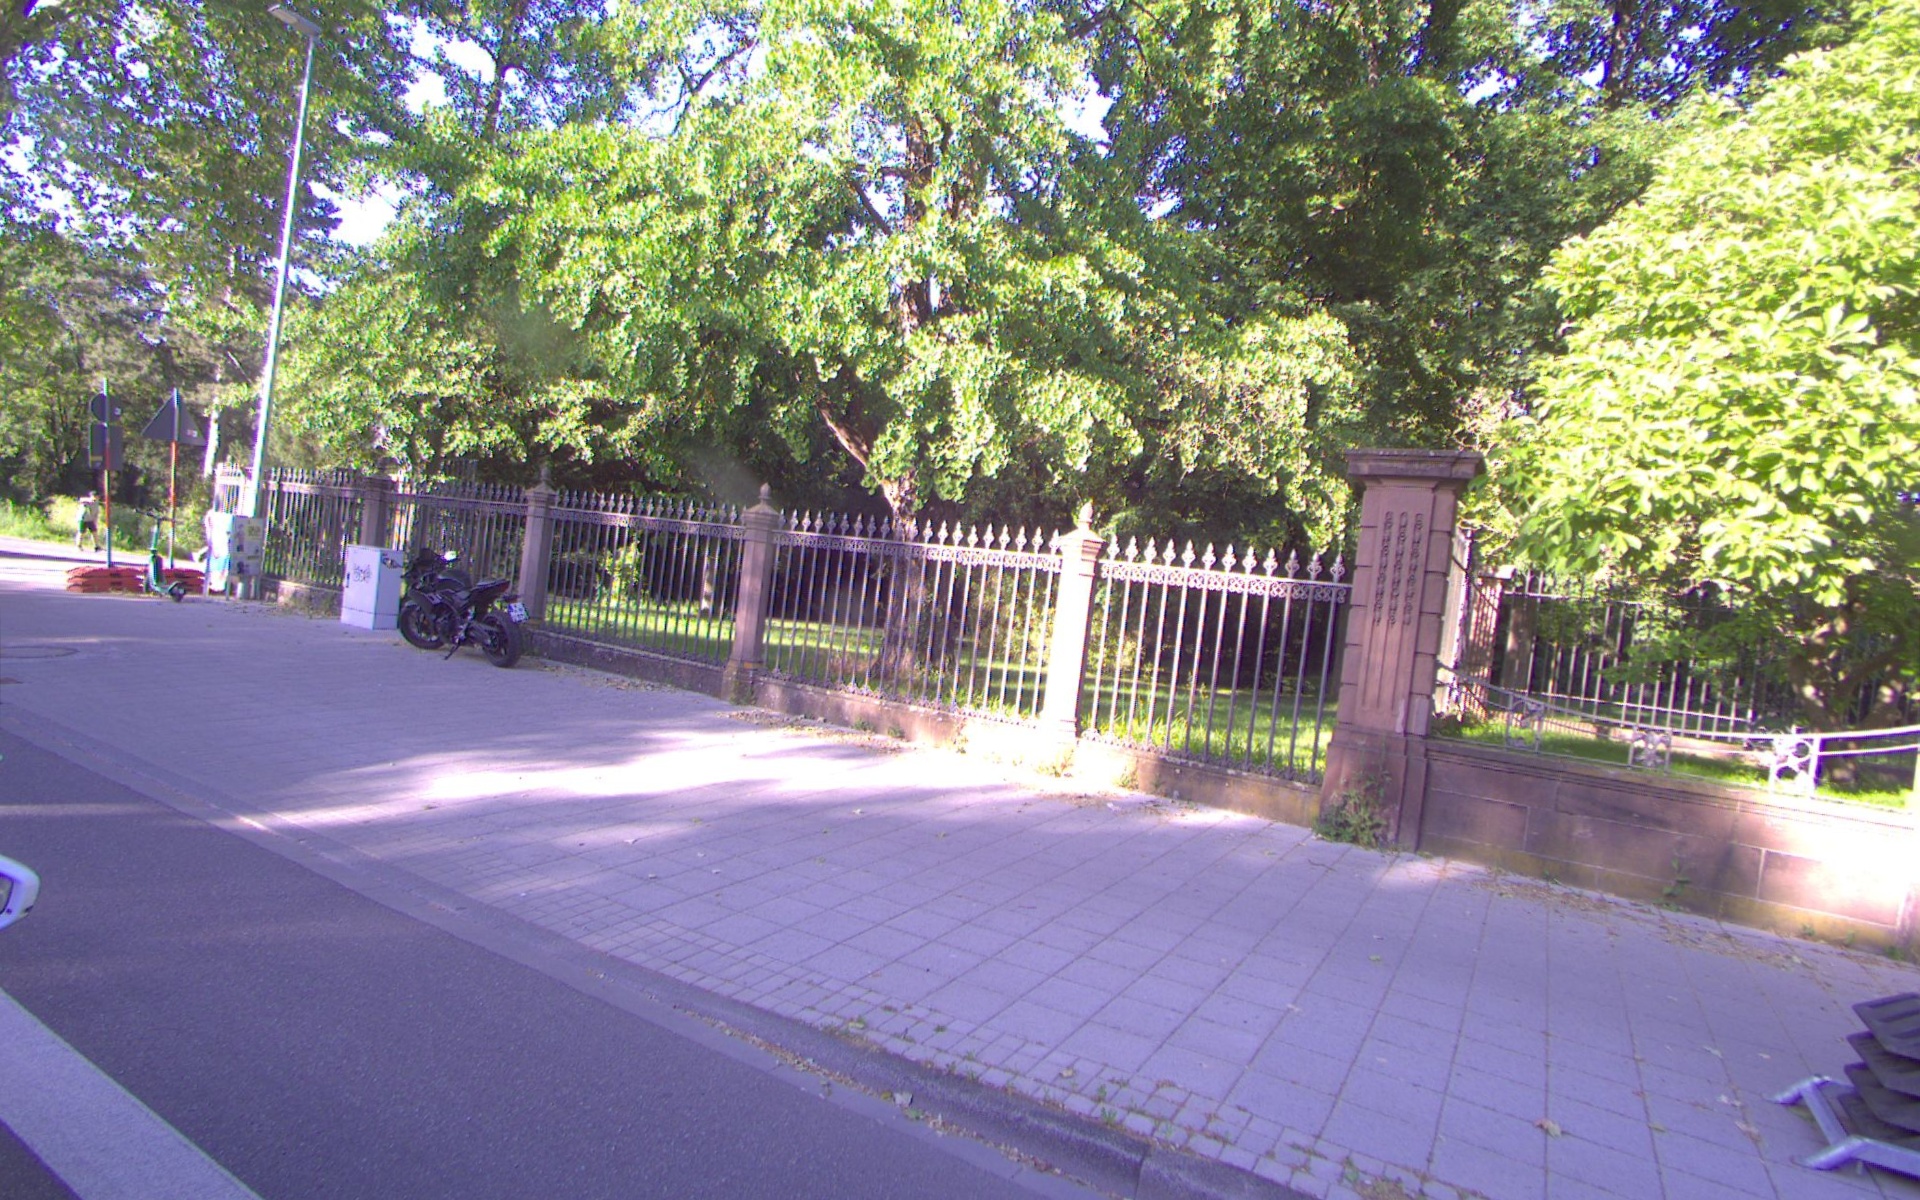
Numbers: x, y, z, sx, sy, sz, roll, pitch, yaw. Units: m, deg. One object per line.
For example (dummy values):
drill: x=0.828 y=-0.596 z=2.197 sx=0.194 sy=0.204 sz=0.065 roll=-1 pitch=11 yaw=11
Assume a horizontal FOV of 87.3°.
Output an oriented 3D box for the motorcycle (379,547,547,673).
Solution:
motorcycle: x=-5.492 y=0.088 z=11.064 sx=2.134 sy=1.146 sz=0.506 roll=7 pitch=2 yaw=30

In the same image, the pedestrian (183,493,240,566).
pedestrian: x=-20.098 y=-1.881 z=27.014 sx=0.817 sy=1.794 sz=0.819 roll=7 pitch=1 yaw=25

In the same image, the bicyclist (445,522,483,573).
bicyclist: x=-15.092 y=-1.591 z=30.602 sx=0.778 sy=1.448 sz=0.659 roll=7 pitch=-1 yaw=-38

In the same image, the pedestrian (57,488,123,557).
pedestrian: x=-21.469 y=-1.909 z=24.836 sx=0.900 sy=1.536 sz=0.820 roll=7 pitch=-1 yaw=27

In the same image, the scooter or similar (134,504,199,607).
scooter or similar: x=-11.213 y=-0.640 z=14.211 sx=1.152 sy=1.344 sz=0.228 roll=7 pitch=2 yaw=30

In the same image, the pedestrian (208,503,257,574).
pedestrian: x=-18.938 y=-1.588 z=26.200 sx=0.632 sy=1.721 sz=0.690 roll=7 pitch=1 yaw=25

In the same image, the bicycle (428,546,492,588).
bicycle: x=-15.201 y=-1.001 z=30.598 sx=1.610 sy=1.027 sz=0.470 roll=8 pitch=-1 yaw=-39
